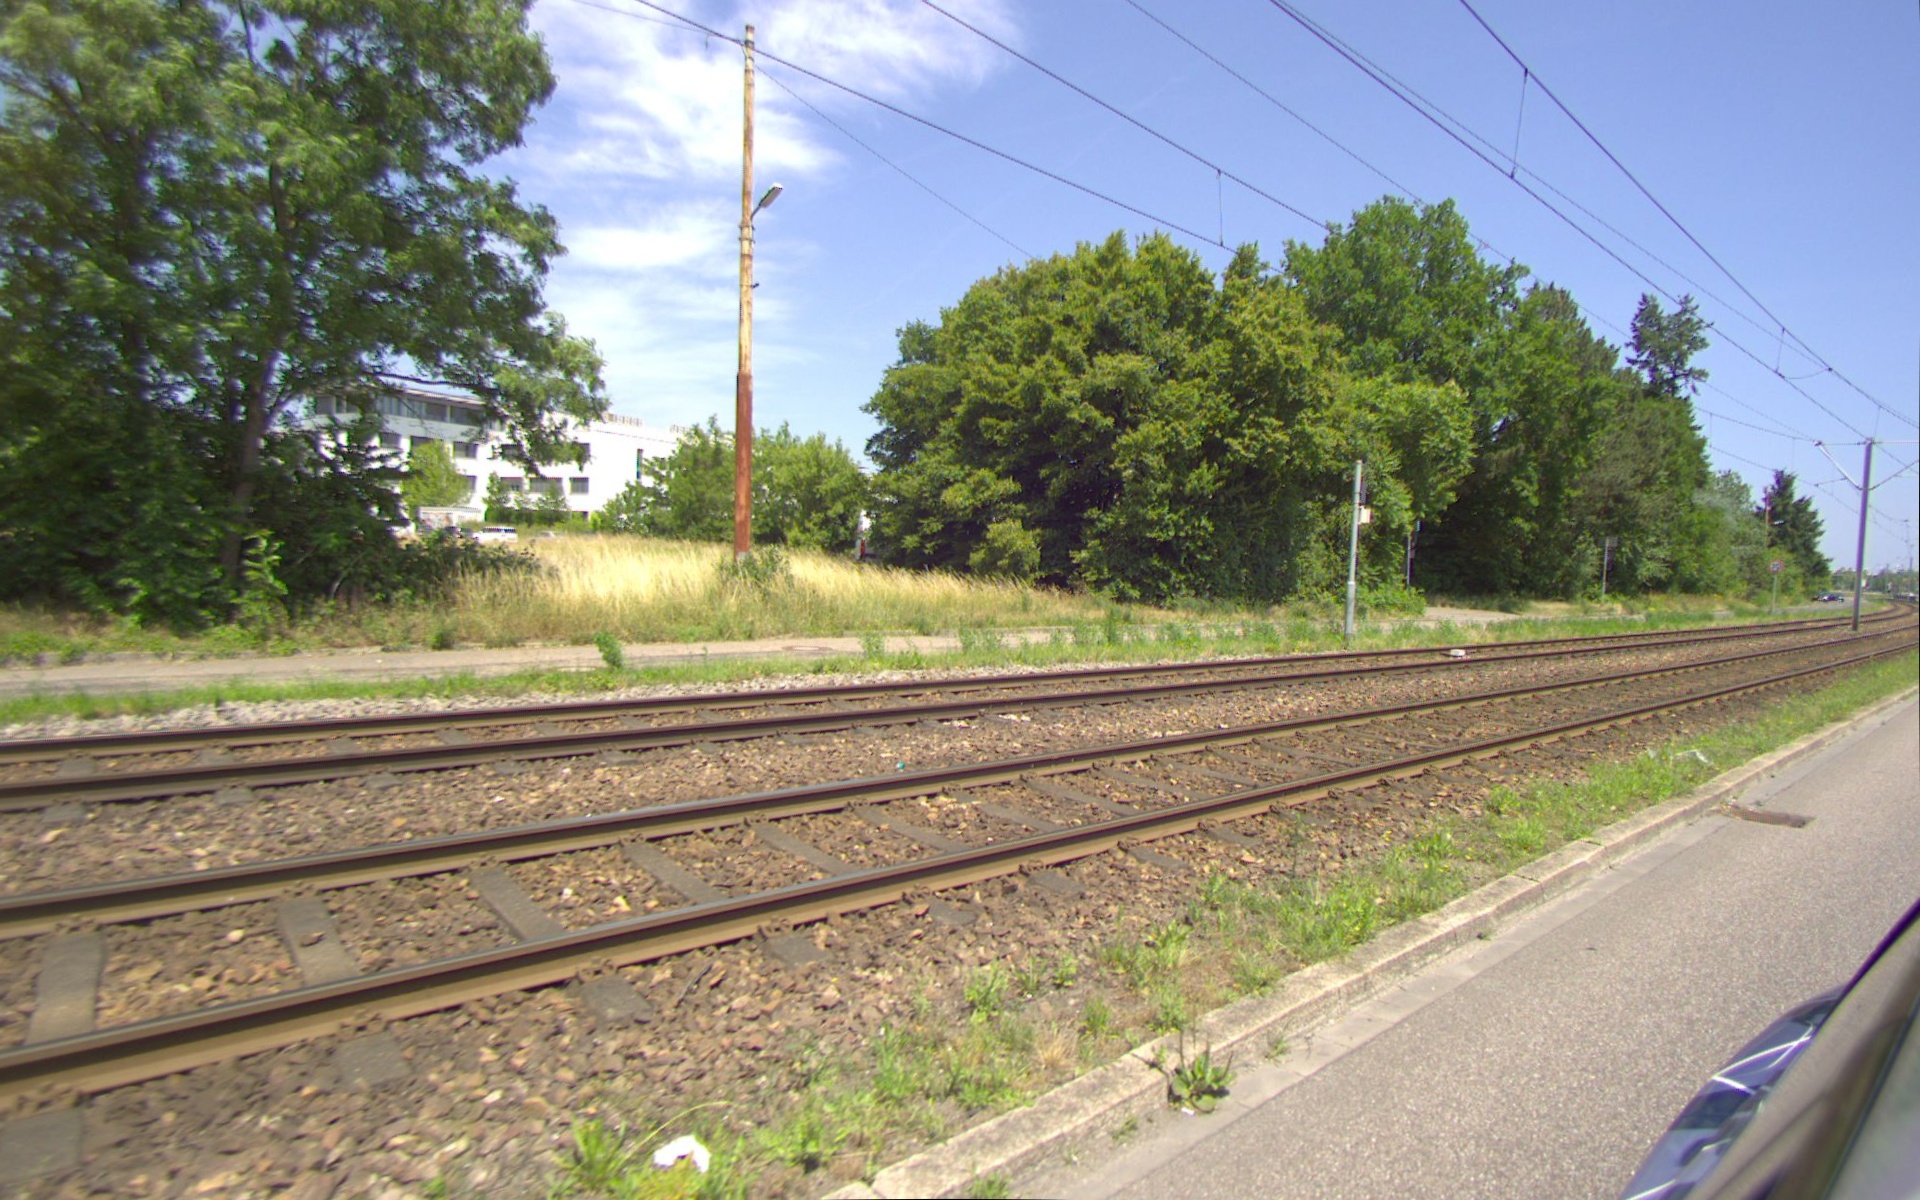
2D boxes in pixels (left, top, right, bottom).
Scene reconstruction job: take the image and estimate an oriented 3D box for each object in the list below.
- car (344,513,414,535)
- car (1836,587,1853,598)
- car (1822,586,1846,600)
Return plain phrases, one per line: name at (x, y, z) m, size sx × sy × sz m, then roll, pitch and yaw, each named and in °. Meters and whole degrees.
car at (-43.999, -5.750, 76.729) m, size 1.823 × 1.471 × 4.312 m, roll 3°, pitch 3°, yaw 34°
car at (135.520, -1.135, 155.045) m, size 1.940 × 1.716 × 3.939 m, roll 0°, pitch 1°, yaw 43°
car at (113.487, -0.900, 131.434) m, size 3.934 × 1.742 × 1.995 m, roll -1°, pitch 1°, yaw -44°
